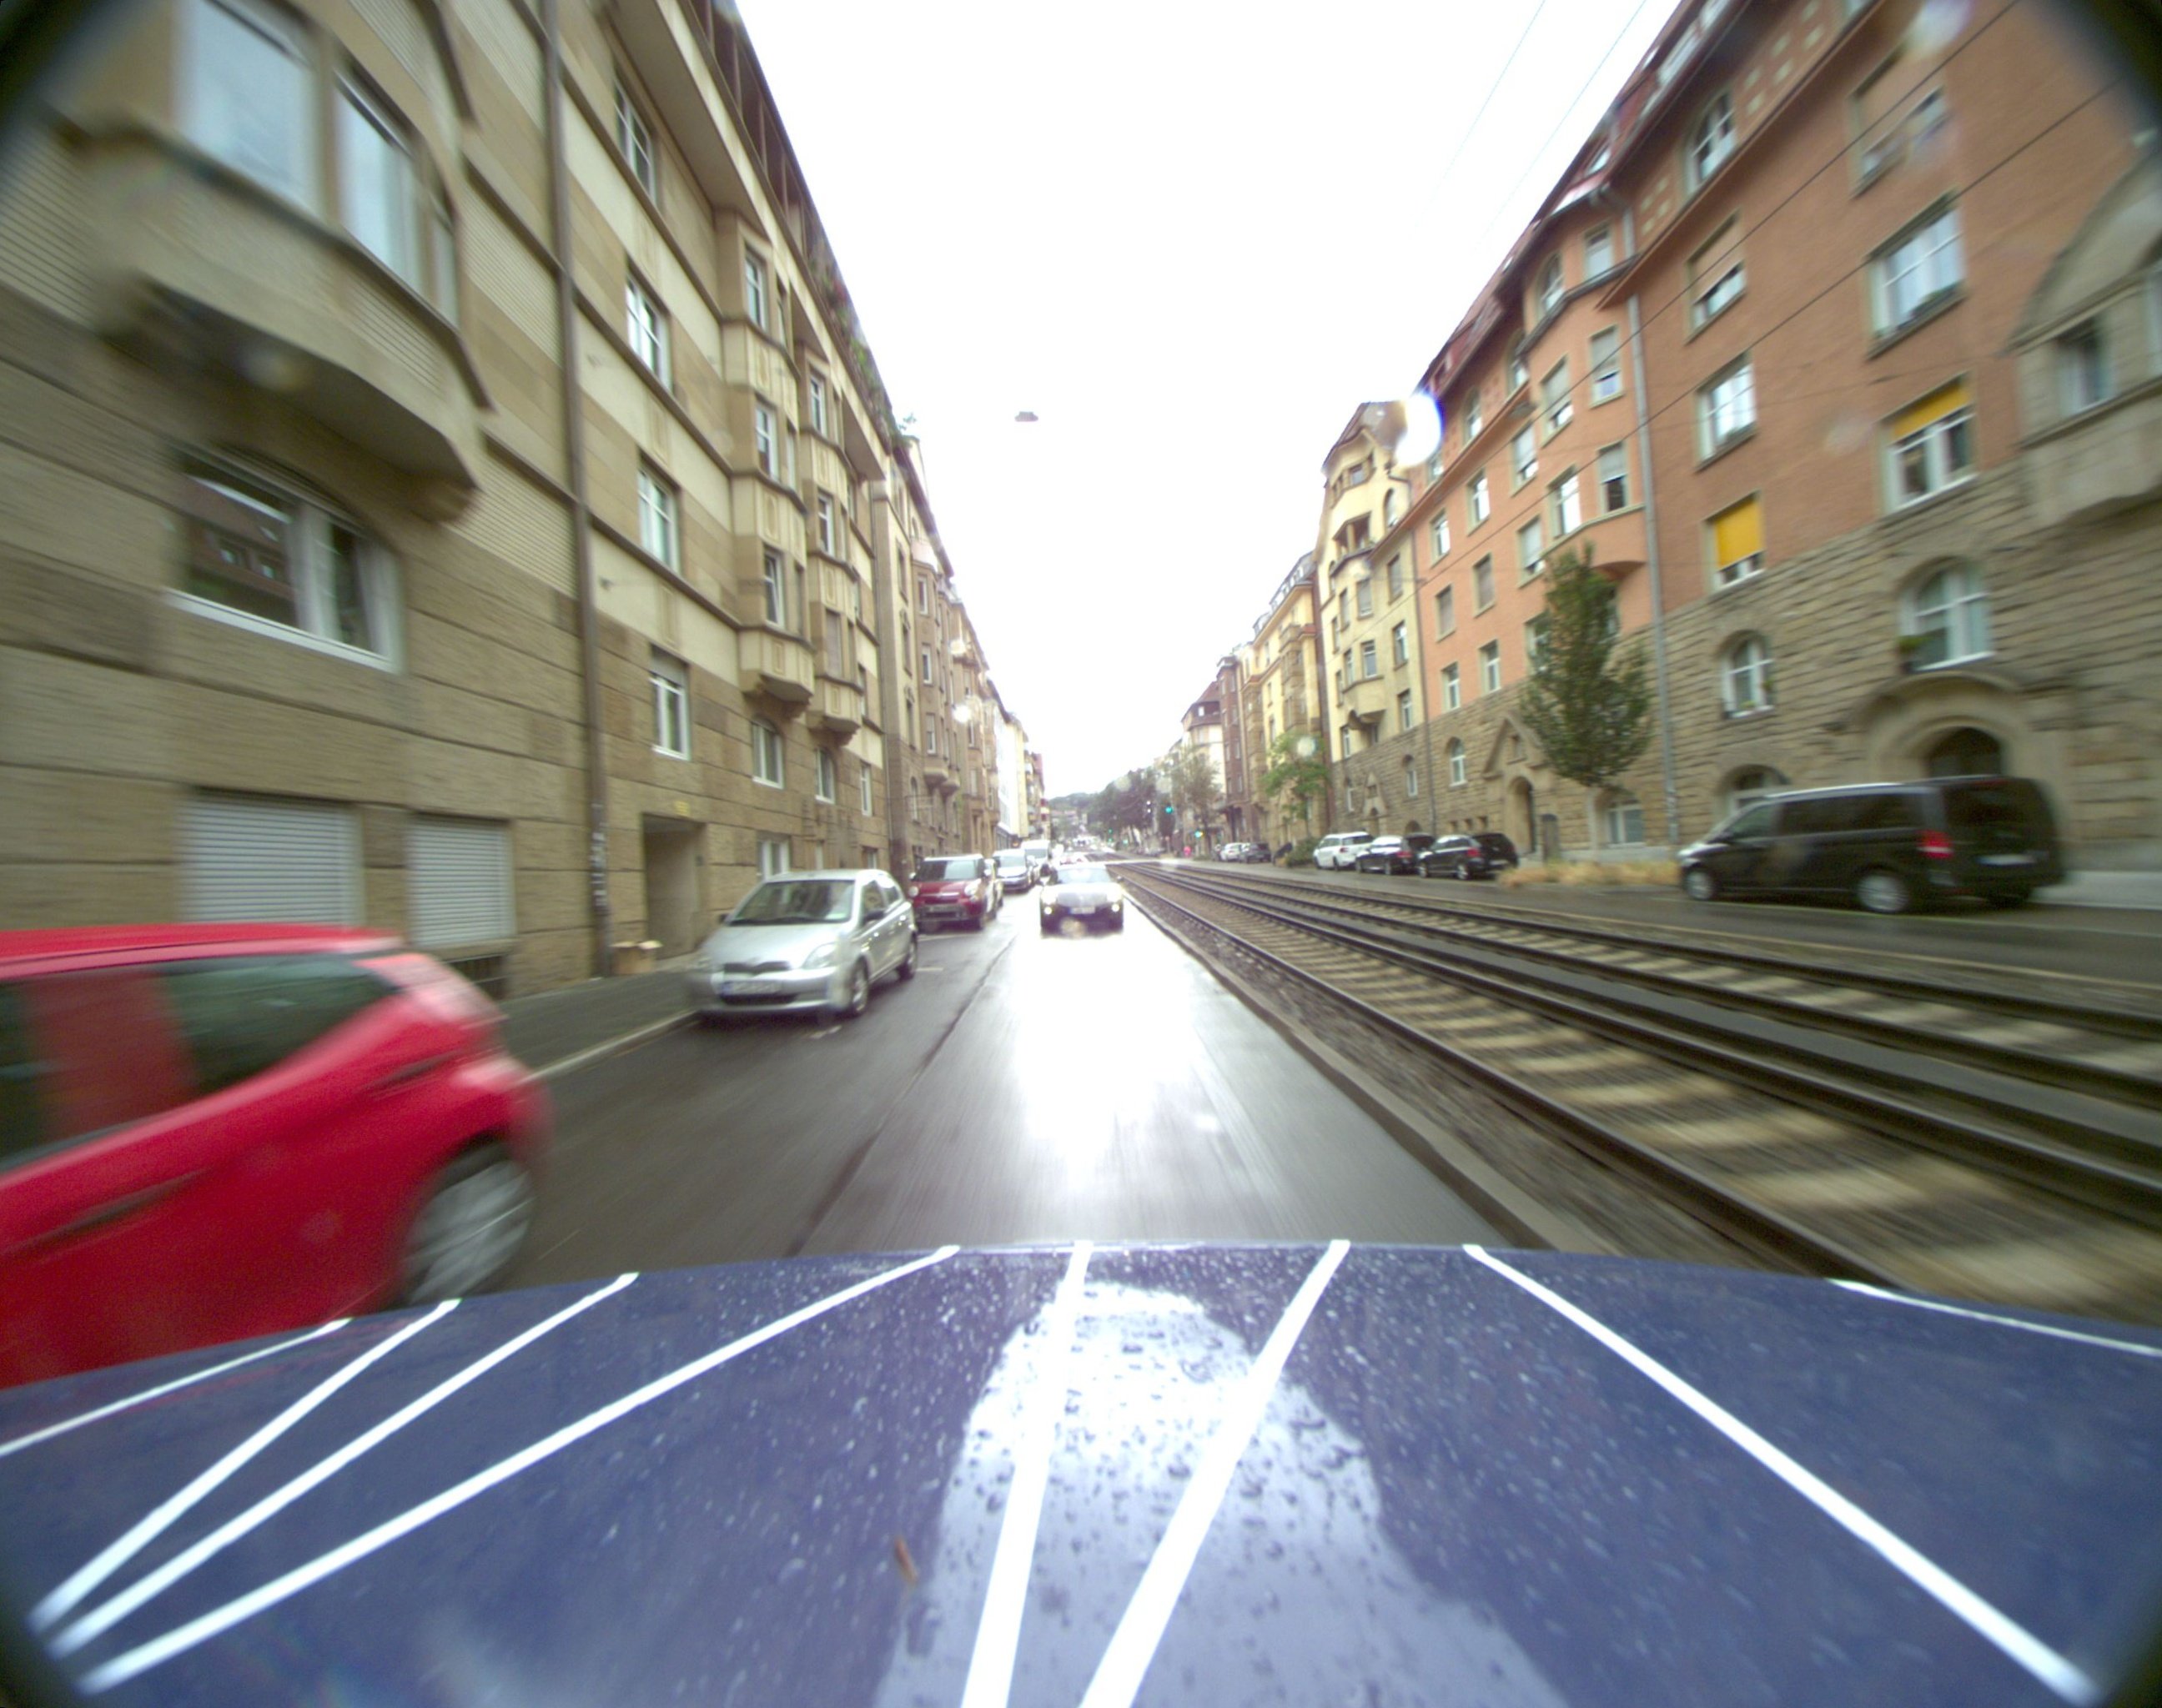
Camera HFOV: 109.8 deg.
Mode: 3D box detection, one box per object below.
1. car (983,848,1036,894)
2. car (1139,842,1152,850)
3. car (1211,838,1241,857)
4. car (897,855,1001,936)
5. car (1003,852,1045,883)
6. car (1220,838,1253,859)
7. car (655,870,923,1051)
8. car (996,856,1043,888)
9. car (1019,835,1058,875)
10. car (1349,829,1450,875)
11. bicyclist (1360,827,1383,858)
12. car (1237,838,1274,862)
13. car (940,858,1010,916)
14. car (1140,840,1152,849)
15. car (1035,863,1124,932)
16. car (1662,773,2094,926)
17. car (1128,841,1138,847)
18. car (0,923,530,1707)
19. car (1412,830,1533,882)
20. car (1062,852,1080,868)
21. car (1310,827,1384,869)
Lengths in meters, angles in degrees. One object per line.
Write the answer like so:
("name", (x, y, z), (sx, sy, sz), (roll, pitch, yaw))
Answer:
("car", (-3.007, 0.677, 32.806), (1.811, 1.759, 3.961), (-3, 1, 0))
("car", (11.051, -1.394, 129.869), (1.794, 1.339, 4.256), (-2, 1, 0))
("car", (12.260, -0.557, 64.307), (1.759, 1.419, 3.712), (-6, 1, 2))
("car", (-2.948, 0.870, 17.833), (1.774, 1.592, 3.999), (-2, 1, -1))
("car", (-3.118, 0.727, 42.494), (1.935, 1.516, 4.058), (-4, 1, 0))
("car", (12.173, -0.446, 59.714), (1.759, 1.443, 4.043), (-6, 1, 2))
("car", (-3.004, 1.001, 8.625), (1.598, 1.478, 3.521), (-2, 1, 1))
("car", (-3.008, 0.852, 37.819), (1.931, 1.380, 3.981), (-4, 1, 0))
("car", (-2.926, 0.021, 53.781), (1.991, 2.520, 6.154), (-3, 1, 2))
("car", (12.162, -0.121, 29.333), (1.760, 1.482, 4.596), (-5, 1, -2))
("bicyclist", (15.108, -0.606, 39.540), (0.894, 1.592, 0.774), (-2, 2, 0))
("car", (12.282, -0.336, 53.655), (1.717, 1.474, 3.712), (-6, 1, 2))
("car", (-3.179, 0.951, 23.469), (1.632, 1.502, 3.530), (-4, 1, -1))
("car", (12.033, -1.796, 141.050), (1.794, 1.610, 4.256), (-2, 1, 0))
("car", (-0.008, 0.894, 17.129), (1.737, 1.262, 4.257), (-1, 0, 0))
("car", (12.257, -0.105, 12.328), (1.911, 1.919, 4.831), (-2, 1, 0))
("car", (11.684, -2.218, 171.484), (1.794, 1.339, 4.256), (-2, 1, 0))
("car", (-2.998, 1.060, 1.170), (1.710, 1.445, 3.531), (-4, 1, -2))
("car", (12.447, 0.036, 24.432), (1.760, 1.396, 3.693), (-5, 1, -3))
("car", (-1.005, 0.584, 80.266), (1.794, 1.459, 4.257), (-2, 1, 0))
("car", (12.142, -0.307, 34.994), (1.760, 1.663, 4.258), (-6, 1, 0))
